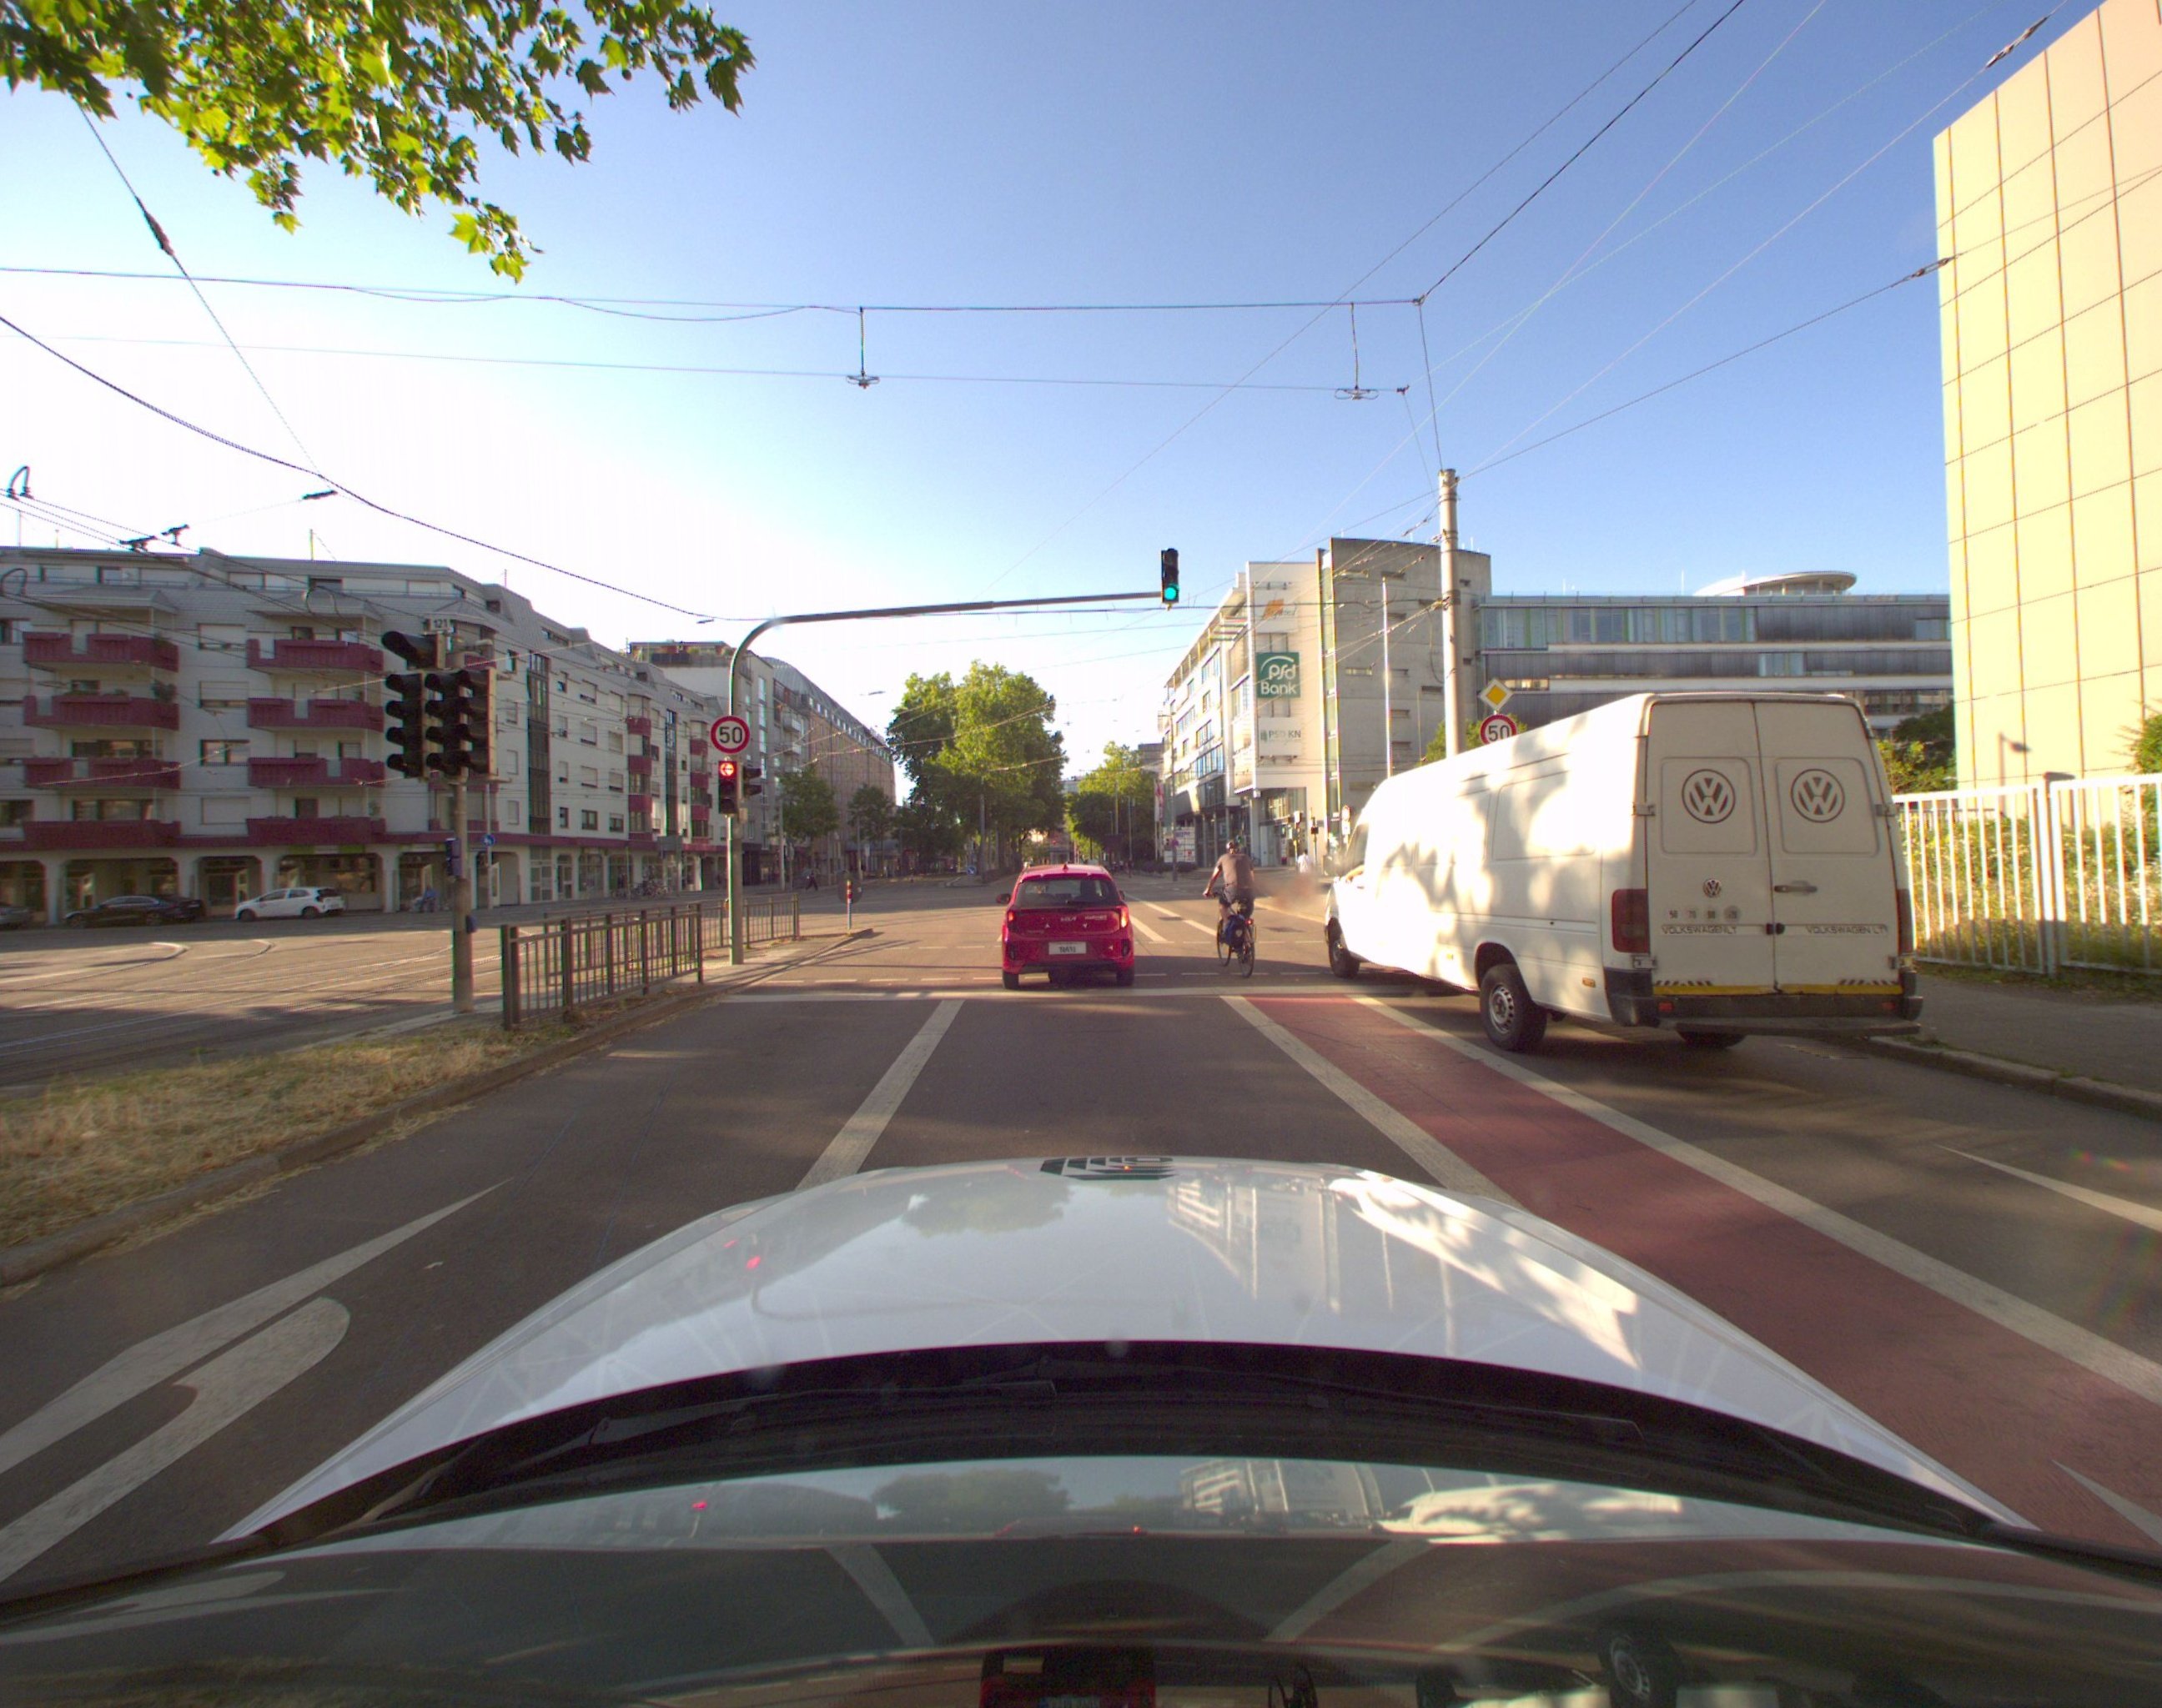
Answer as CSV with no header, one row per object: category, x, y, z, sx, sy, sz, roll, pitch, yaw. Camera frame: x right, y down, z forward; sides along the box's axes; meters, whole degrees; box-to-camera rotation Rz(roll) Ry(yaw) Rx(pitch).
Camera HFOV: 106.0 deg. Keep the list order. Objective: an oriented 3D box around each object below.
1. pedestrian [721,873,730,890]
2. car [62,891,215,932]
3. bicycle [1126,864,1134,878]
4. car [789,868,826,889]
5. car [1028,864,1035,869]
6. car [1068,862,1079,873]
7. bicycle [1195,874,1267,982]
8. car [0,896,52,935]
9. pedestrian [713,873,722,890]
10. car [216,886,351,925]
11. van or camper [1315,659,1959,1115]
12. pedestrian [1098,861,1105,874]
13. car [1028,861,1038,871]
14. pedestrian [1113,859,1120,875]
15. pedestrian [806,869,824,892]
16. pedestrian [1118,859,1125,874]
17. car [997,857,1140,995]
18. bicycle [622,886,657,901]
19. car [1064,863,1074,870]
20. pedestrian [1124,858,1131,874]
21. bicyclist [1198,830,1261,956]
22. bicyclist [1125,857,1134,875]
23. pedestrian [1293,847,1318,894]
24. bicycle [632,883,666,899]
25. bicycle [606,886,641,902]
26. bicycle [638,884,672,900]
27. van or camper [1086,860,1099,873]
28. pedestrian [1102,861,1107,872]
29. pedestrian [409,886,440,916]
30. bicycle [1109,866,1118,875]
pedestrian,-31.333,2.401,71.868,0.533,1.494,0.586,-2,-1,-6
car,-42.334,2.570,36.699,4.112,1.555,1.992,-2,-1,-12
bicycle,4.487,1.553,74.389,0.693,1.098,1.753,-5,0,4
car,-23.907,2.142,71.429,1.951,1.672,4.255,-2,0,-3
car,-15.560,3.867,255.793,1.776,1.535,3.403,-1,-1,-7
car,-1.205,2.239,133.654,1.631,1.800,3.328,-2,-1,-1
bicycle,2.002,0.944,11.107,0.647,1.281,1.967,-2,-1,2
car,-48.514,2.750,35.318,4.572,1.555,1.992,-2,-1,-12
pedestrian,-32.006,2.403,71.631,0.533,1.494,0.586,-2,-1,-6
car,-37.077,2.363,37.987,3.989,1.555,1.992,-2,-1,-12
van or camper,4.265,0.209,8.061,1.963,2.716,6.301,-1,0,-1
pedestrian,2.678,1.774,107.619,0.641,1.579,0.722,-5,-1,-5
car,-10.674,2.691,181.083,1.991,2.014,3.992,-2,0,-6
pedestrian,3.940,1.432,89.943,0.646,1.680,0.649,-2,-1,-8
pedestrian,-18.830,1.869,57.679,1.042,1.544,0.694,-2,-1,0
pedestrian,4.708,1.498,94.412,0.563,1.702,0.905,-5,-1,-5
car,-0.212,0.836,11.013,1.609,1.535,3.408,-1,-1,-3
bicycle,-27.570,2.442,50.860,1.837,0.854,0.553,-2,-1,-1
car,-2.531,2.615,174.835,1.776,1.535,3.503,-1,-1,-7
pedestrian,5.379,1.409,94.498,0.539,1.796,0.905,-5,-1,-5
bicyclist,1.995,0.503,11.053,0.647,1.603,1.089,-2,-1,2
bicyclist,4.444,1.123,74.314,0.718,1.603,1.090,-4,-1,4
pedestrian,9.039,0.665,32.839,0.773,1.824,1.219,-2,-1,9
bicycle,-27.661,2.369,52.131,1.840,0.985,0.552,-2,-1,-6
bicycle,-28.133,2.457,50.101,1.837,0.854,0.553,-2,-1,-1
bicycle,-27.569,2.465,52.743,1.840,0.985,0.552,-2,-1,-6
van or camper,1.838,2.043,131.693,1.988,1.989,4.741,-1,-1,-2
pedestrian,3.898,2.107,135.439,0.888,1.753,0.841,-2,-1,1
pedestrian,-32.427,2.303,40.236,0.857,1.384,0.833,-2,-1,-14
bicycle,3.558,1.809,89.727,0.520,0.975,2.195,-5,0,-8
